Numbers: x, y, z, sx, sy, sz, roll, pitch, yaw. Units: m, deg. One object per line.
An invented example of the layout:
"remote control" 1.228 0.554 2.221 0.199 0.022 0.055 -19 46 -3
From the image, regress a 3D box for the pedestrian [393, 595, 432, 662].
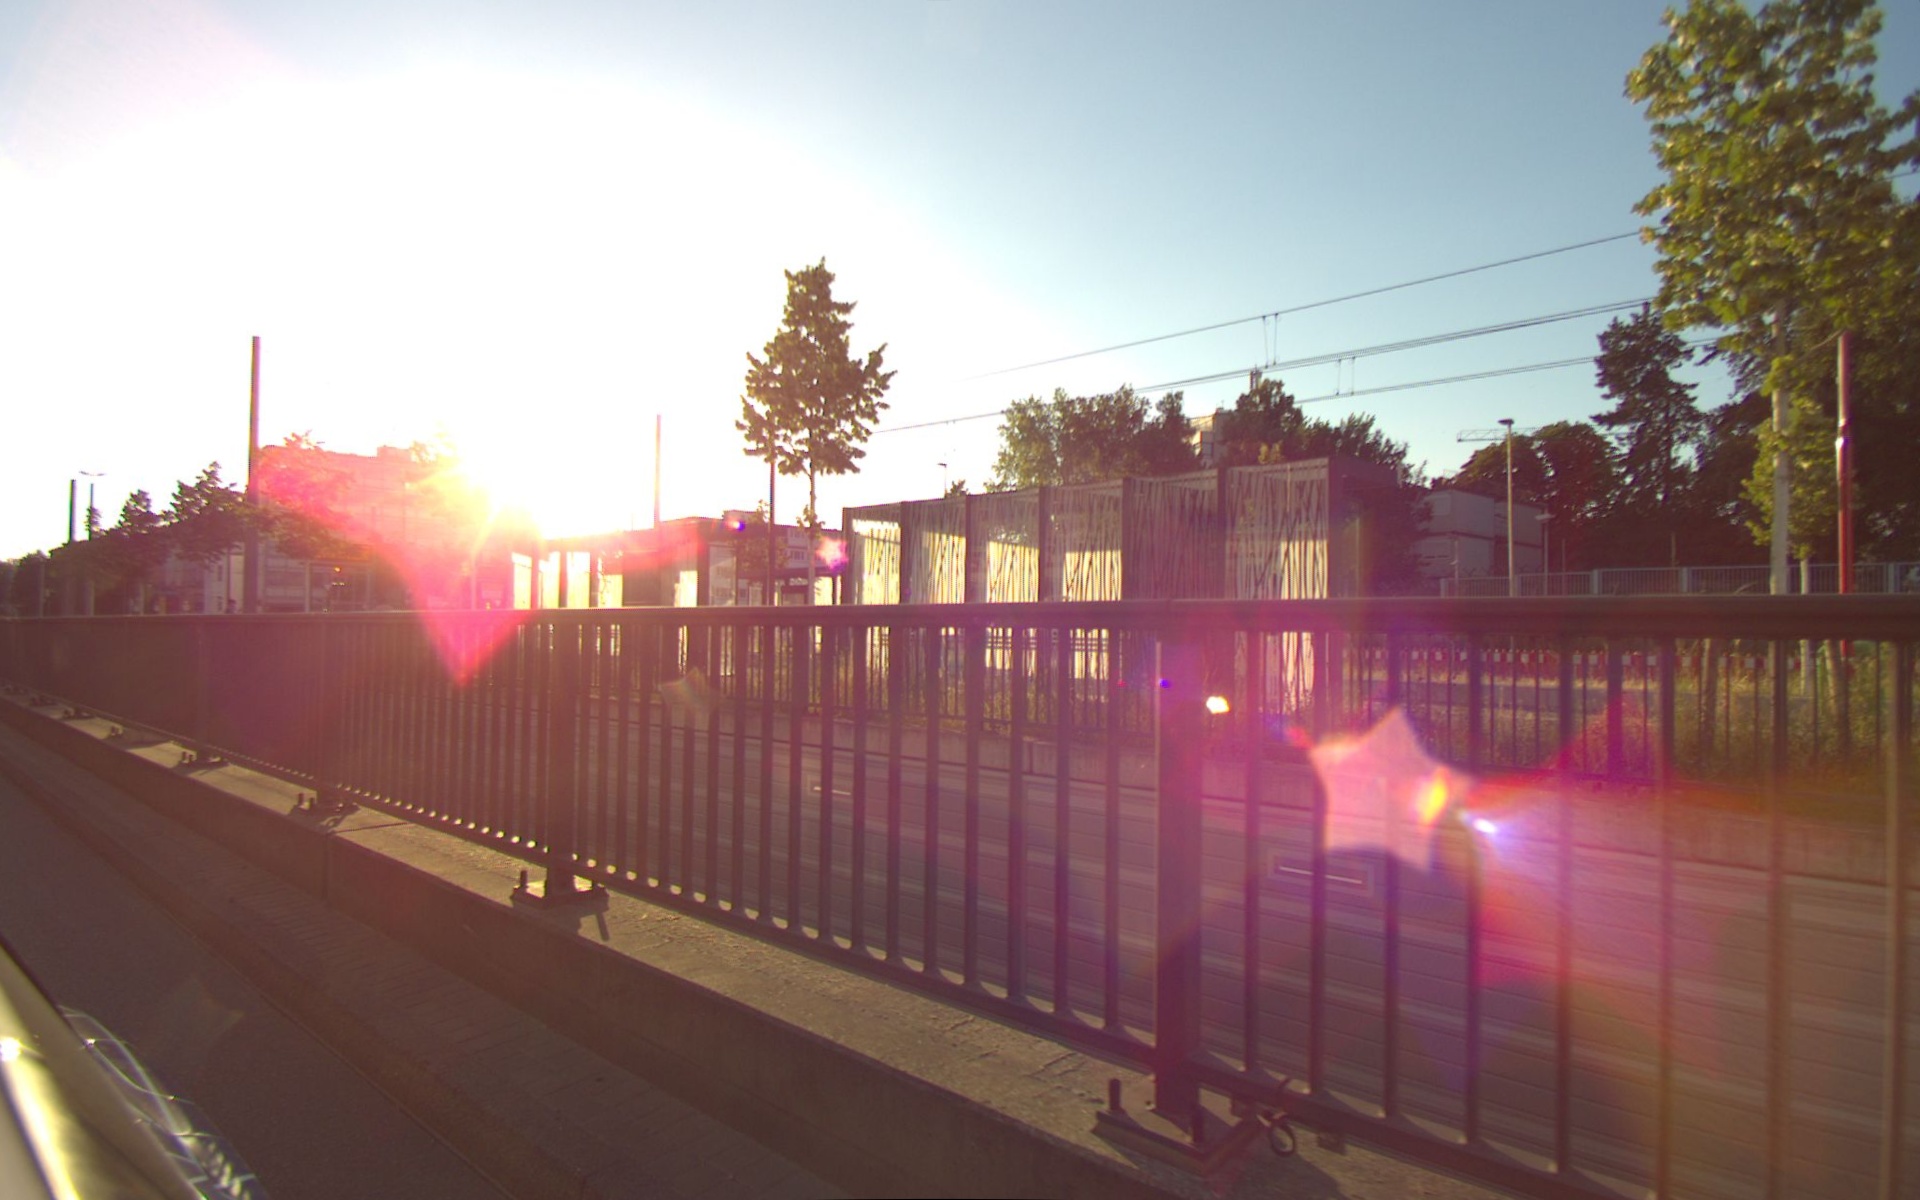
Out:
"pedestrian" -14.369 0.748 26.564 0.633 1.742 0.630 -1 -2 28

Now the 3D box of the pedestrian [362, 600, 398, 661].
"pedestrian" -17.111 0.893 29.842 0.634 1.758 0.719 -2 -2 33

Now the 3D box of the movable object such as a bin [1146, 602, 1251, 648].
"movable object such as a bin" 12.219 1.272 51.969 4.939 2.263 1.971 -1 -2 43

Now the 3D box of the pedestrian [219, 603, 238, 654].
"pedestrian" -26.317 1.017 36.403 0.465 1.800 0.627 1 -2 -42

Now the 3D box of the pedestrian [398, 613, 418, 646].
"pedestrian" -29.788 1.589 54.620 0.817 1.812 0.686 -1 -2 43
